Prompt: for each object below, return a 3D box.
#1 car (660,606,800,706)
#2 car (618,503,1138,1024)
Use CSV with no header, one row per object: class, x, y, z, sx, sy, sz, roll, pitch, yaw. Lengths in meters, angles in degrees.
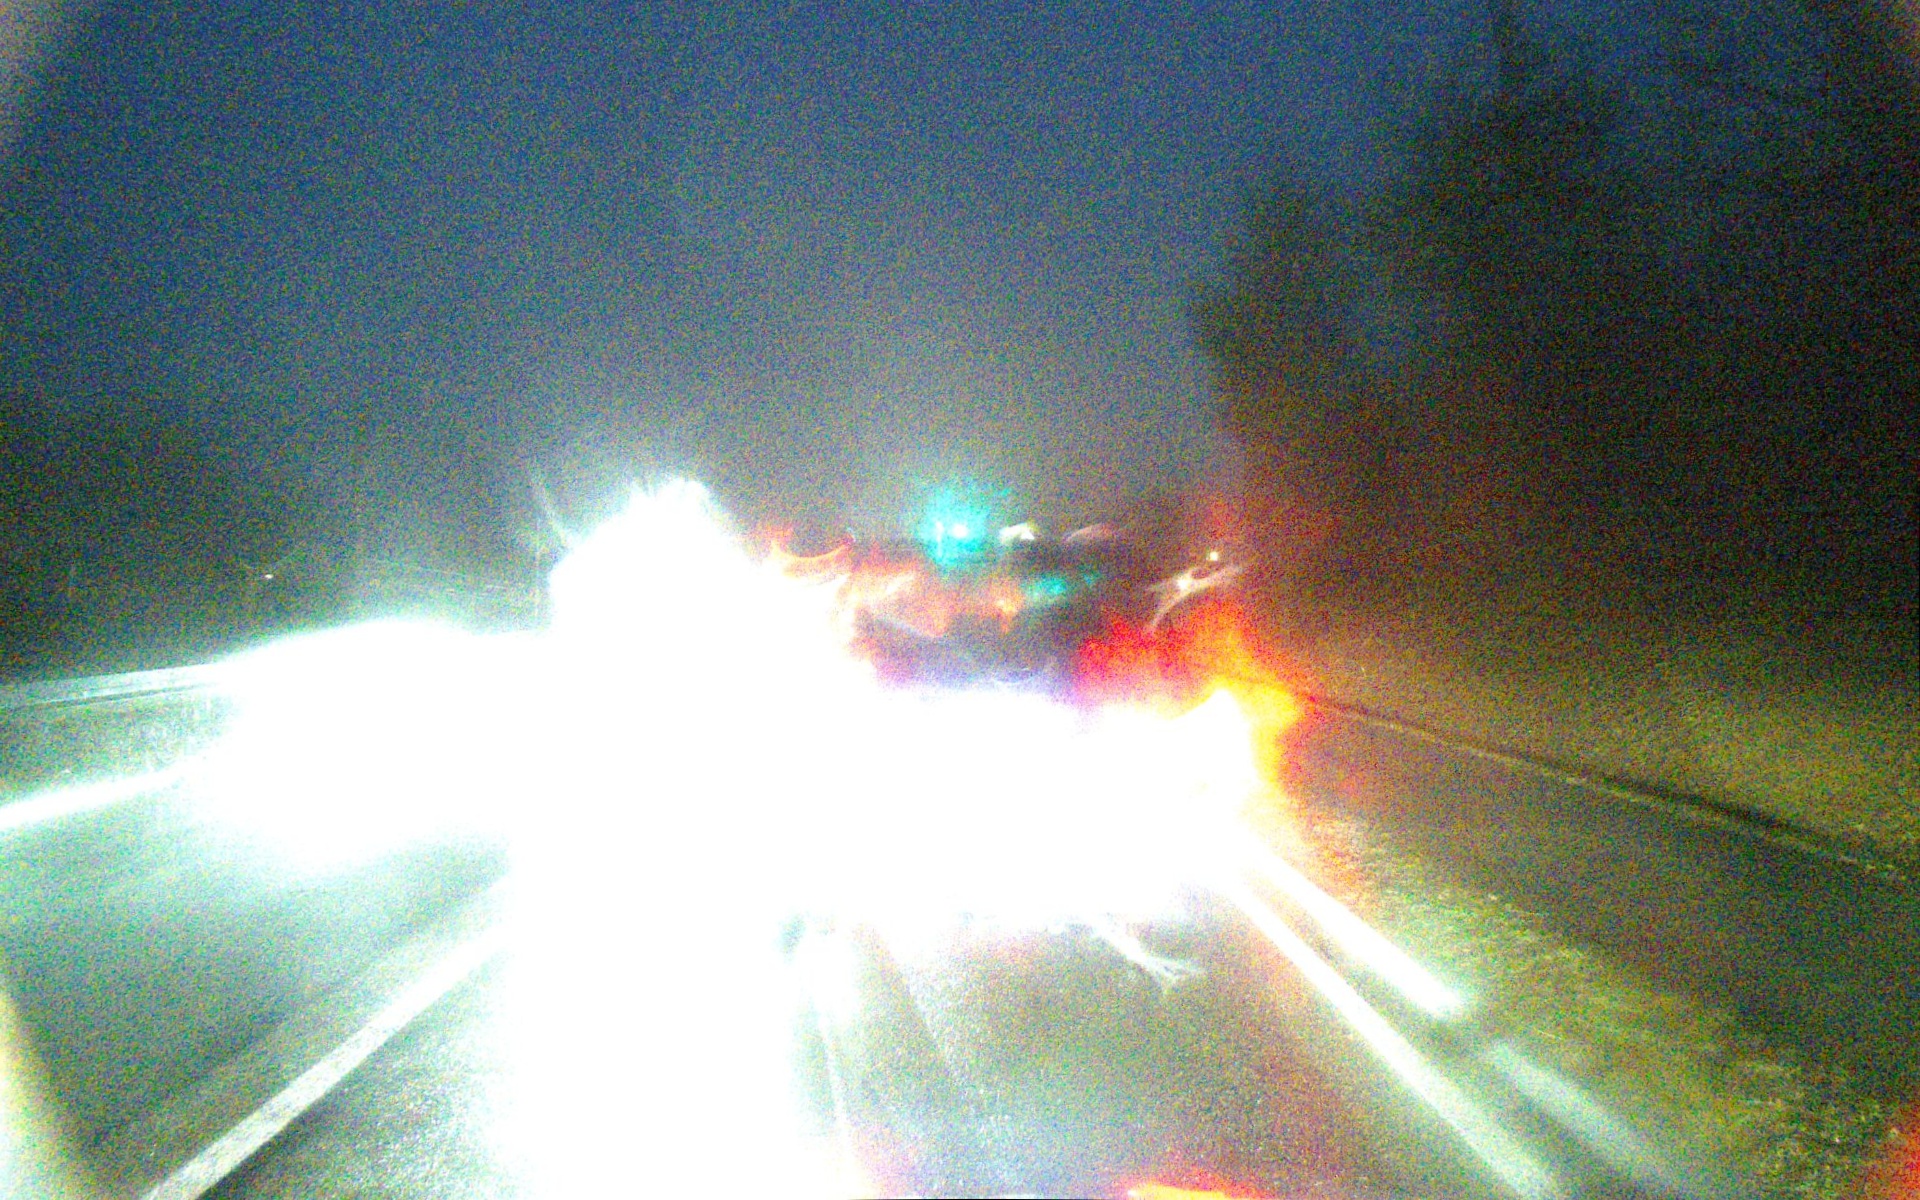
car,-3.859,0.895,28.371,1.865,1.495,4.273,2,0,-2
car,-0.286,0.563,7.599,1.739,1.742,3.999,1,0,0
